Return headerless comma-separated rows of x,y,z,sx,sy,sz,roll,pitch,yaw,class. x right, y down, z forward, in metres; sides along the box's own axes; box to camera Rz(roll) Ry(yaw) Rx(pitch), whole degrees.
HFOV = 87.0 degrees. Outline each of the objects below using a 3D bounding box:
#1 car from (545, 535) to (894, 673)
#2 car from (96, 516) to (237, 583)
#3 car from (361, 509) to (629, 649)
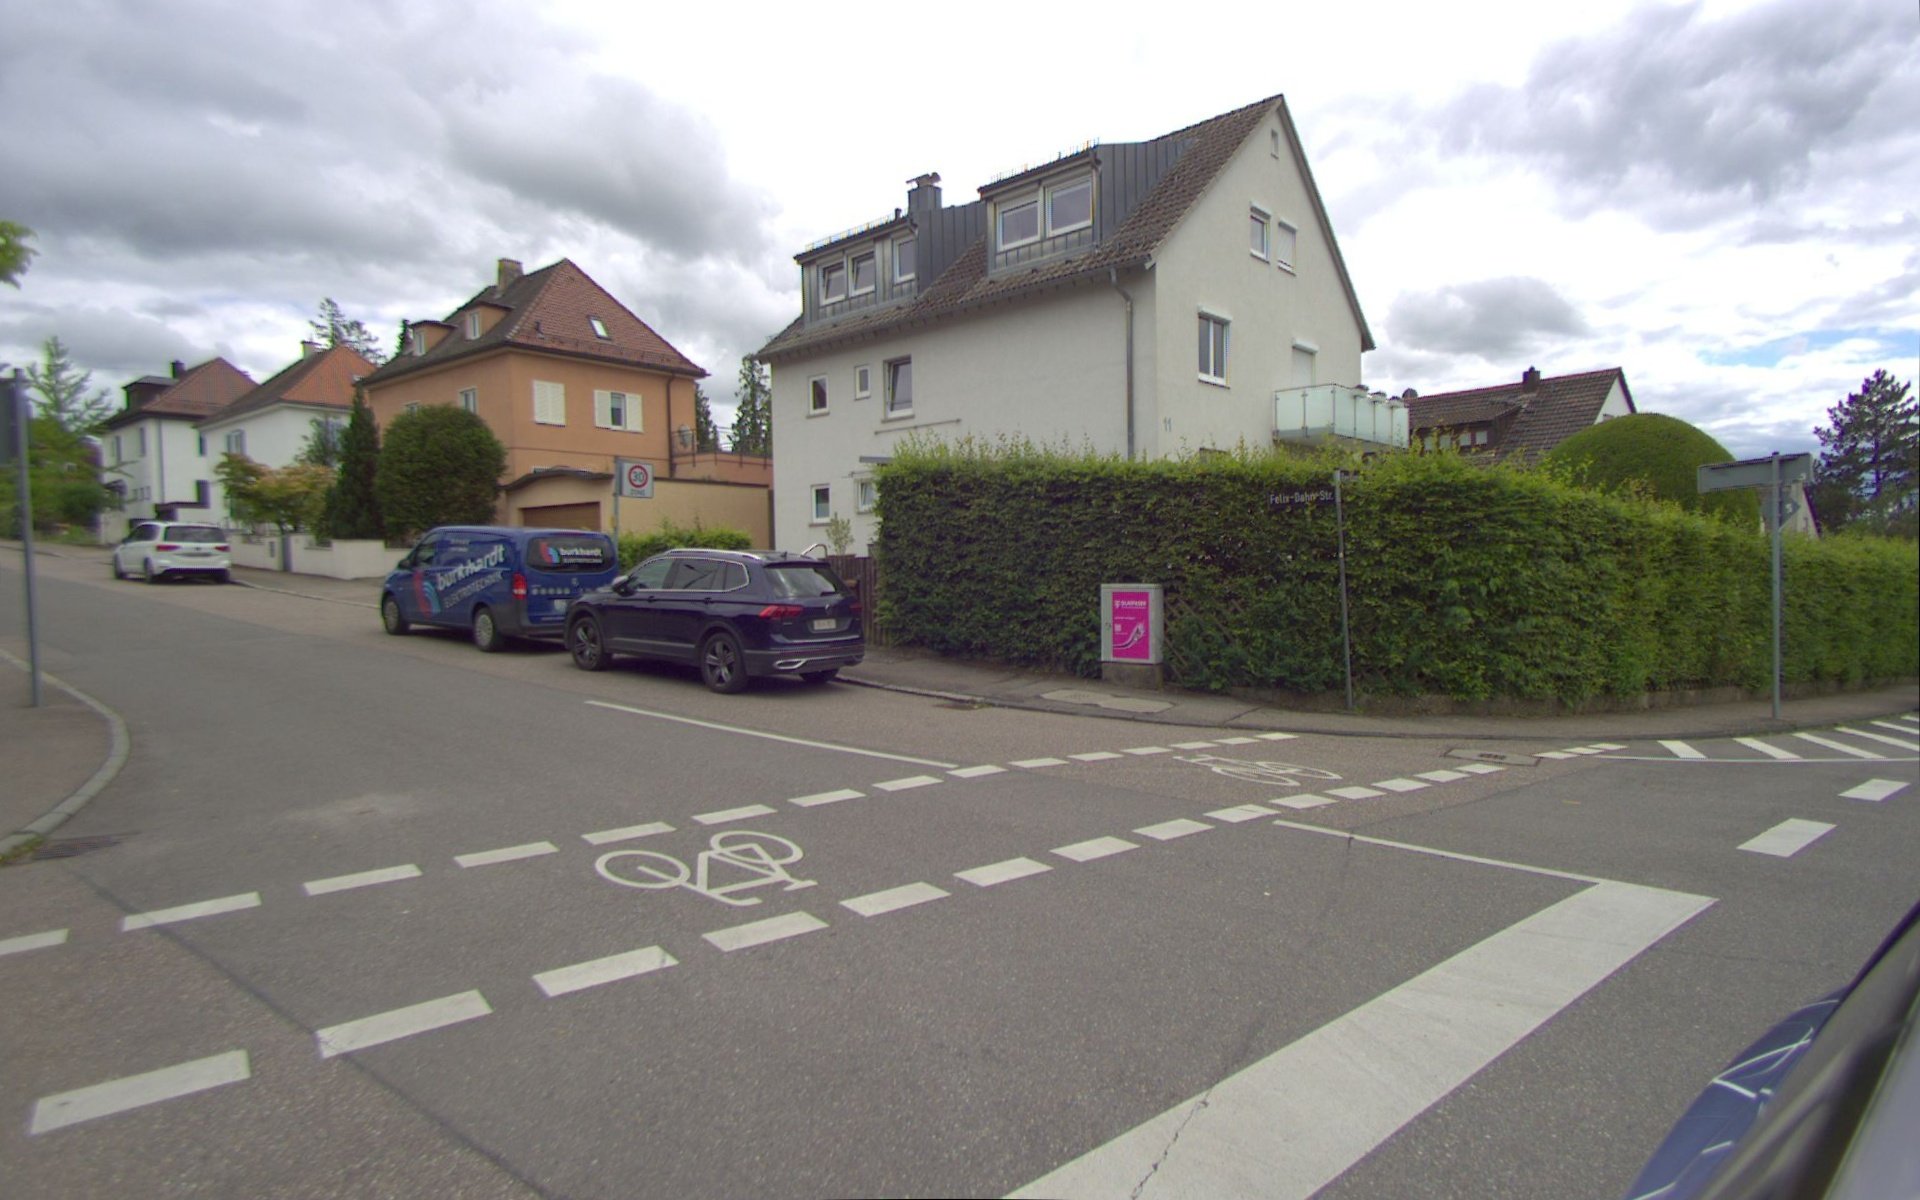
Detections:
-3.254,-0.018,13.300,4.492,1.453,1.974,4,1,36,car
-21.582,-1.374,27.494,4.111,1.660,1.864,3,1,35,car
-7.680,-0.464,16.554,4.704,1.980,1.865,4,4,35,car
